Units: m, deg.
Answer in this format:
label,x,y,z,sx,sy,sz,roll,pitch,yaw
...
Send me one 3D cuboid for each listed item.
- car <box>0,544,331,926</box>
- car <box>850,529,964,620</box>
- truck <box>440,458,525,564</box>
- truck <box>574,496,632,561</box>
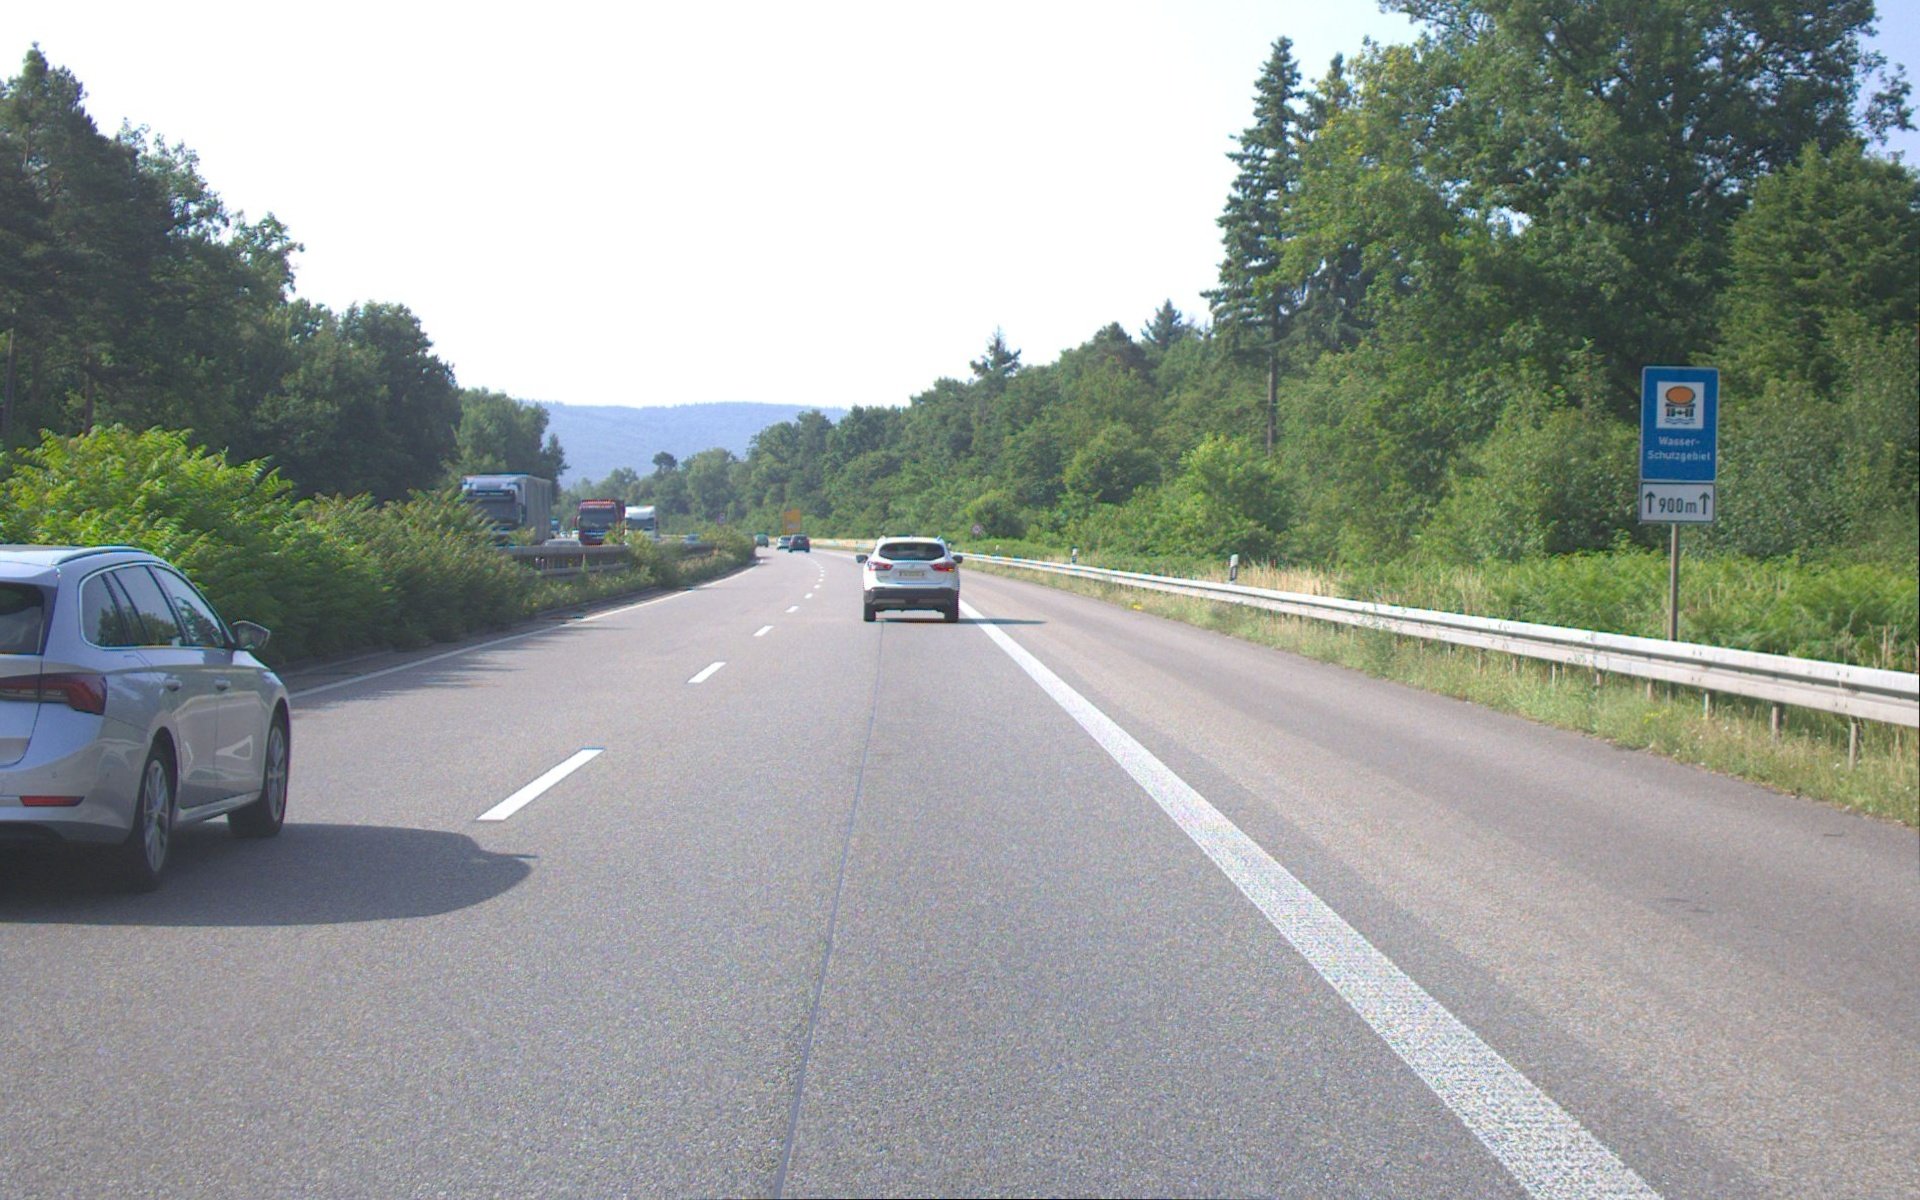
label,x,y,z,sx,sy,sz,roll,pitch,yaw
car,-4.246,0.481,15.842,1.792,1.433,5.279,0,1,-1
car,-1.041,-0.511,65.175,1.873,1.580,4.001,2,1,-4
truck,-19.457,-3.619,140.306,2.709,4.186,6.294,-1,1,-2
truck,-22.579,-4.526,217.773,3.266,4.025,6.234,0,1,-3
